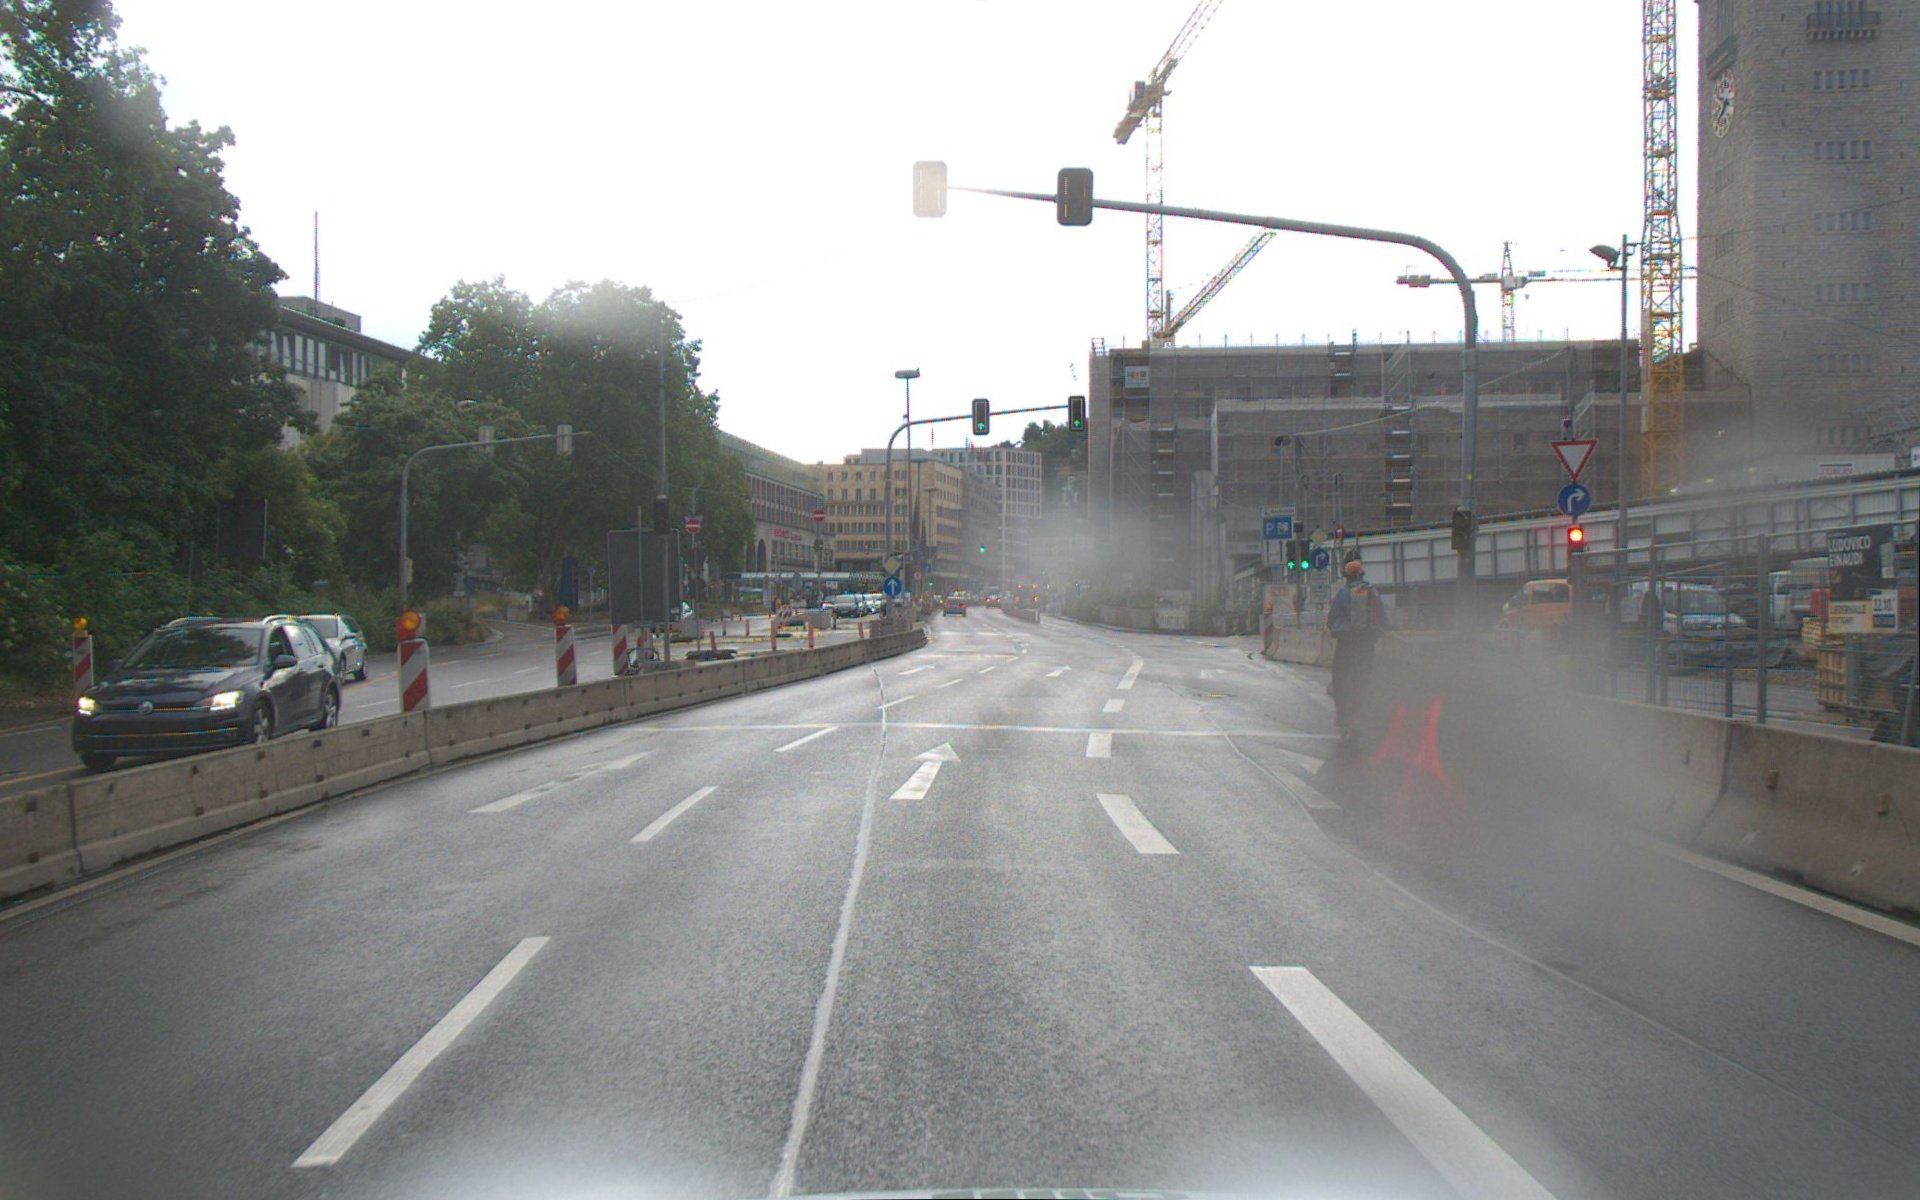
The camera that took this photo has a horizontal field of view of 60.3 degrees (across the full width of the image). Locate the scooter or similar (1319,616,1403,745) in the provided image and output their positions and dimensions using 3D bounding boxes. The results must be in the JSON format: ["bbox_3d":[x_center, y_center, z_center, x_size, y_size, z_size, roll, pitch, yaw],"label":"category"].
[{"bbox_3d":[4.390,0.848,18.175,0.585,1.342,1.668,0,0,2],"label":"scooter or similar"}]

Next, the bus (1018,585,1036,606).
[{"bbox_3d":[8.581,-0.604,212.062,1.951,2.474,4.002,-2,-2,5],"label":"bus"}]

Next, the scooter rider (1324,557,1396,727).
[{"bbox_3d":[4.385,0.449,18.159,0.585,1.817,0.997,0,0,2],"label":"scooter rider"}]

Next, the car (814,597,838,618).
[{"bbox_3d":[-11.609,0.665,143.128,1.864,1.555,4.174,-2,-2,-3],"label":"car"}]

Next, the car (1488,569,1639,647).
[{"bbox_3d":[16.492,0.218,45.509,1.874,2.010,5.157,0,0,-5],"label":"car"}]

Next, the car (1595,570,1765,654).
[{"bbox_3d":[17.098,0.228,39.559,1.808,1.838,5.086,0,1,-1],"label":"car"}]

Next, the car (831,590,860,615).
[{"bbox_3d":[-8.189,0.218,118.479,1.864,1.555,4.174,-2,-2,-3],"label":"car"}]

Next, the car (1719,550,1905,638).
[{"bbox_3d":[24.857,-0.154,48.546,2.006,2.354,5.597,-2,0,-7],"label":"car"}]

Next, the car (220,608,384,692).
[{"bbox_3d":[-13.749,1.077,34.857,1.954,1.568,4.440,-2,-2,-5],"label":"car"}]

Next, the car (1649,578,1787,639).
[{"bbox_3d":[22.224,0.248,48.642,1.902,1.648,3.929,-2,0,-6],"label":"car"}]

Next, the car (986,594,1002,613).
[{"bbox_3d":[4.166,0.465,201.563,1.952,2.049,4.000,-2,-2,1],"label":"car"}]

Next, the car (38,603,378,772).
[{"bbox_3d":[-8.110,0.939,18.364,1.954,1.568,4.575,-2,-2,-5],"label":"car"}]

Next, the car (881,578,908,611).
[{"bbox_3d":[-4.739,-0.389,119.140,1.864,2.119,4.174,-2,-2,-3],"label":"car"}]

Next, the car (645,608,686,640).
[{"bbox_3d":[-14.905,1.179,83.925,1.732,1.488,4.171,-3,0,-6],"label":"car"}]

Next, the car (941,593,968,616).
[{"bbox_3d":[-0.420,0.340,126.155,1.864,1.555,4.174,-2,-2,-3],"label":"car"}]
